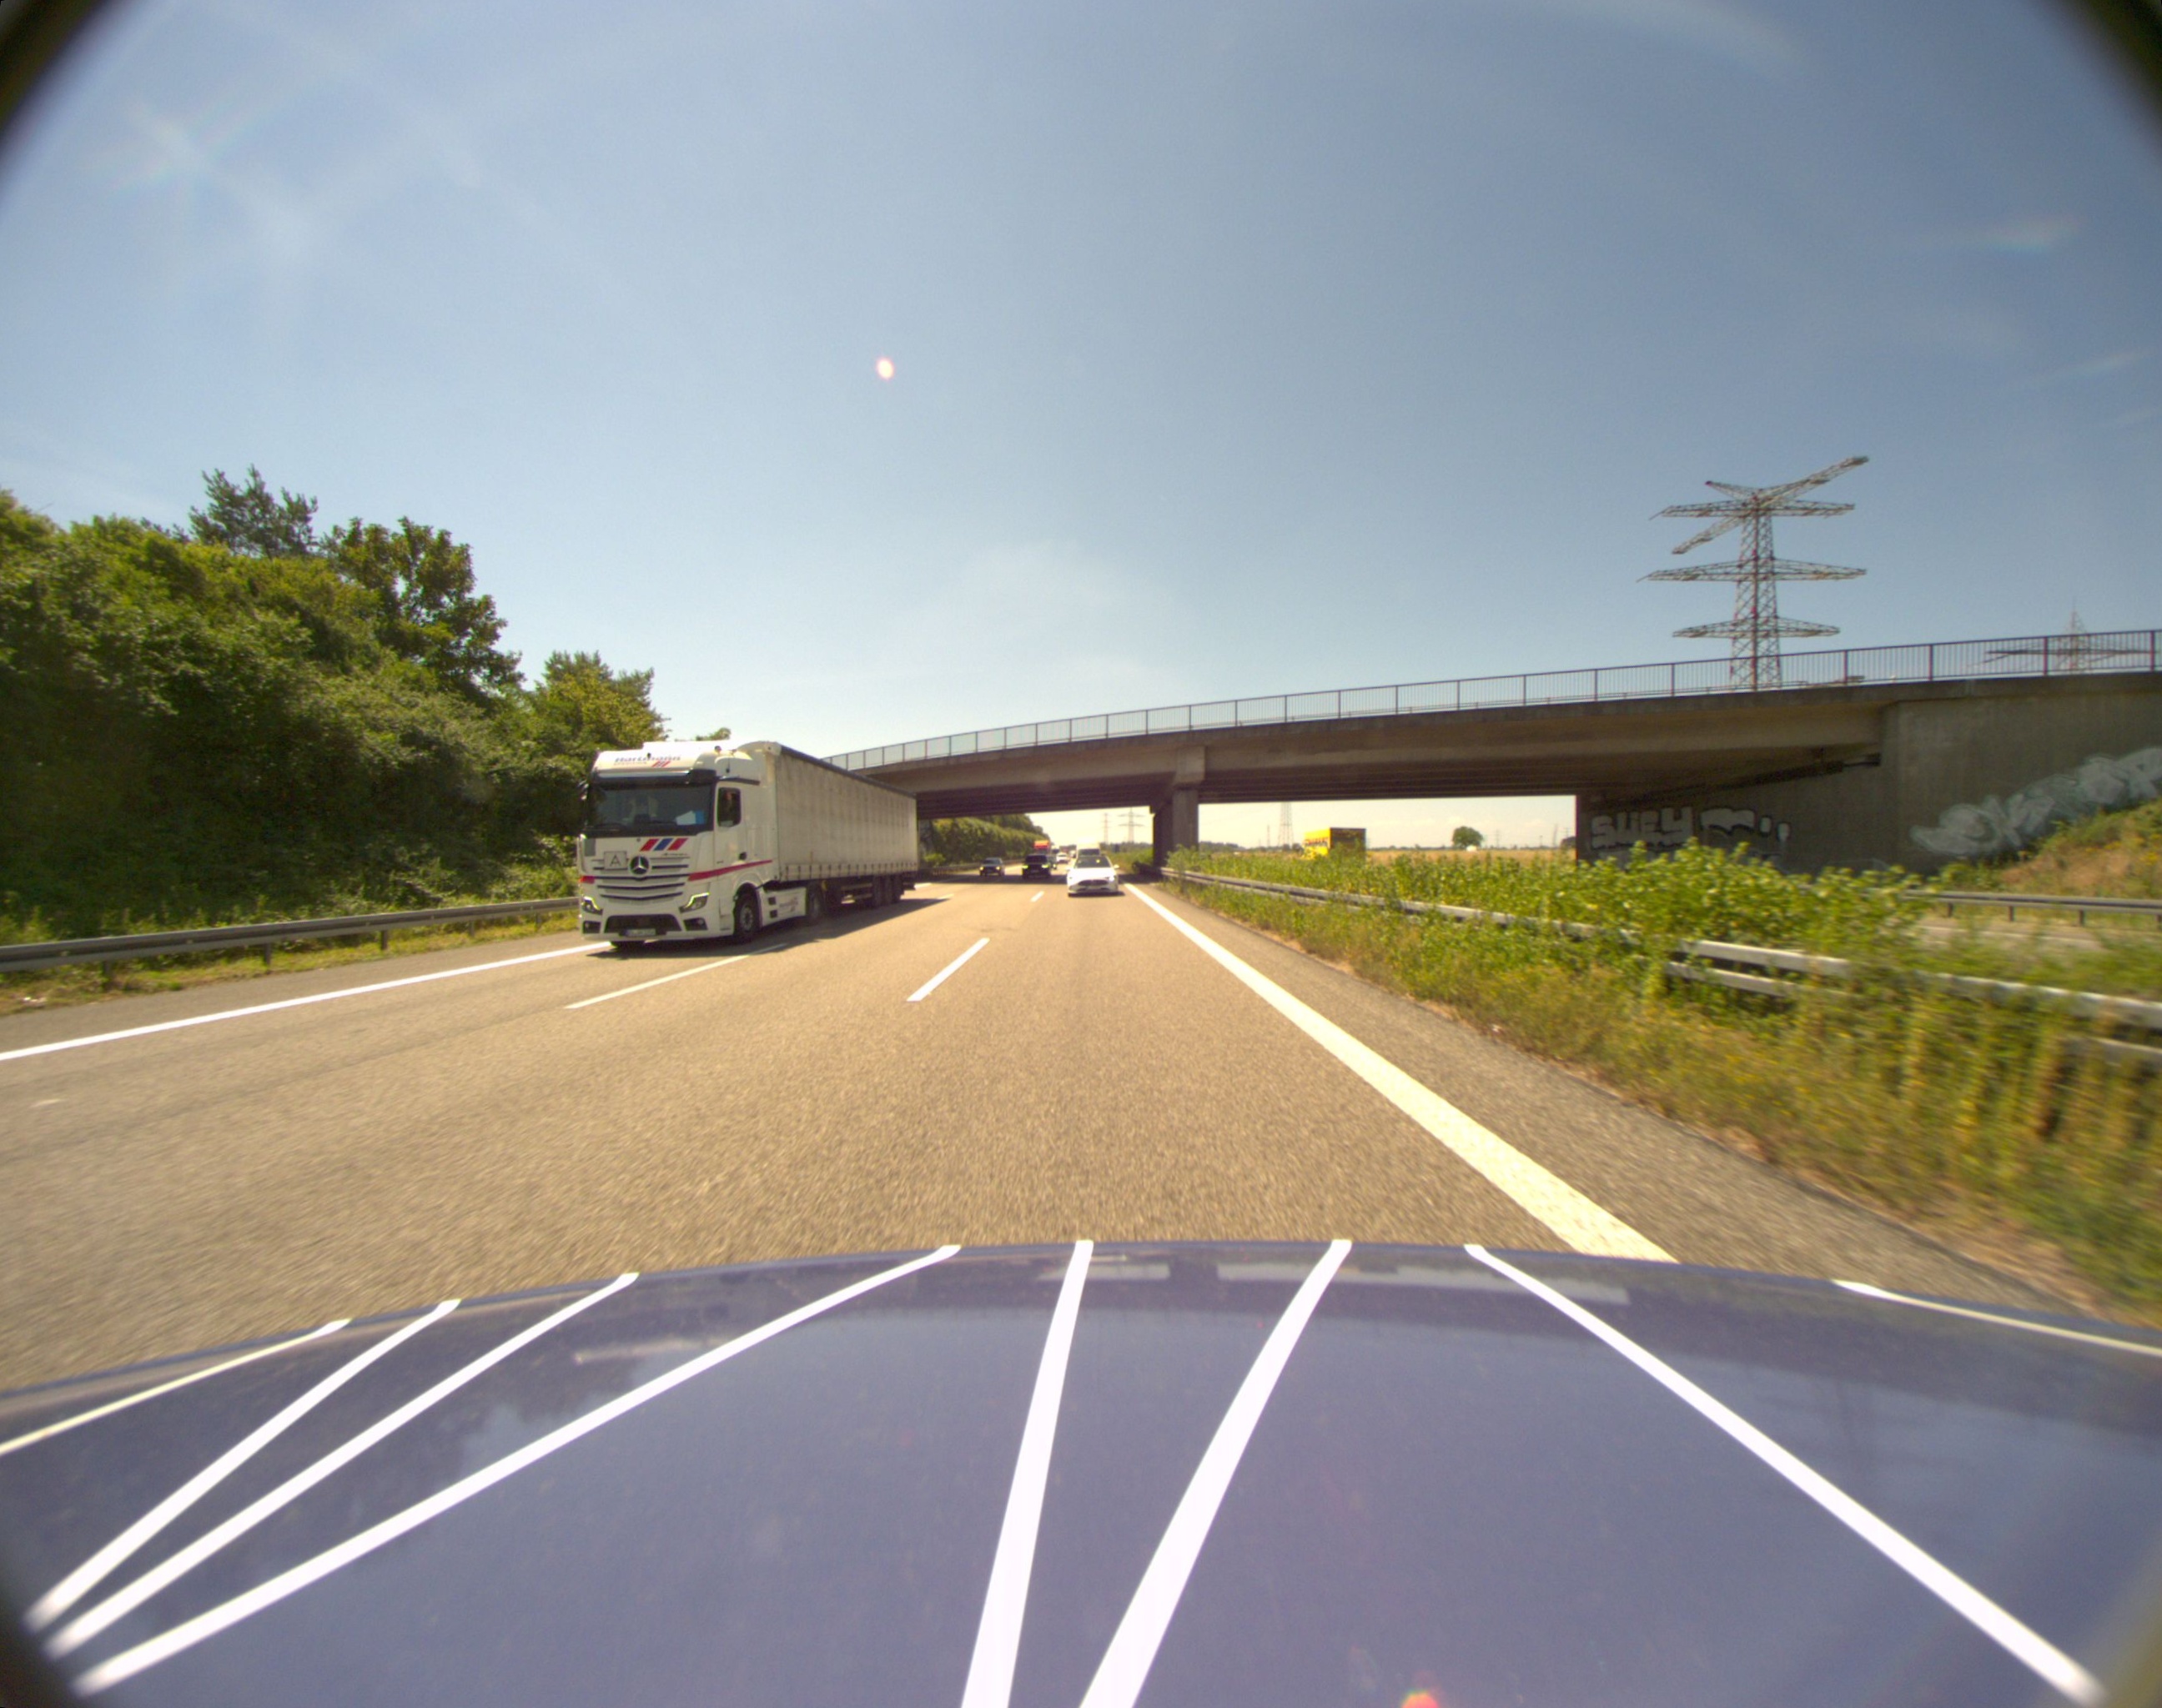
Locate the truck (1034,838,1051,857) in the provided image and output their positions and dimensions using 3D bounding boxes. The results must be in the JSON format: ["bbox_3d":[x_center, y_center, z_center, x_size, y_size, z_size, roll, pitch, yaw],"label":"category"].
[{"bbox_3d":[-6.857,-1.215,136.435,2.581,3.204,5.712,-2,1,0],"label":"truck"}]

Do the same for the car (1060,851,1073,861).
[{"bbox_3d":[-2.248,0.368,121.754,1.984,1.525,4.137,-1,0,0],"label":"car"}]

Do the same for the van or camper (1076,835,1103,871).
[{"bbox_3d":[0.738,-0.087,61.689,1.998,2.741,5.410,-2,0,2],"label":"van or camper"}]

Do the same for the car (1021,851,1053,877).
[{"bbox_3d":[-3.082,0.677,53.737,1.984,1.671,4.558,-1,0,0],"label":"car"}]

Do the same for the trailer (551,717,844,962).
[{"bbox_3d":[-7.540,-0.265,16.264,2.720,4.079,6.788,-1,1,0],"label":"trailer"}]

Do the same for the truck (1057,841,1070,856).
[{"bbox_3d":[-4.645,-1.598,202.731,3.507,3.891,9.646,-1,1,-1],"label":"truck"}]

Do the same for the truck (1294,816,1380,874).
[{"bbox_3d":[18.788,-0.646,56.486,3.520,3.840,8.661,-2,1,1],"label":"truck"}]

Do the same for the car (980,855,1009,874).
[{"bbox_3d":[-7.112,0.815,62.667,1.840,1.403,4.558,-2,0,0],"label":"car"}]

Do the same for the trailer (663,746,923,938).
[{"bbox_3d":[-7.546,-0.304,22.908,2.735,4.079,13.187,-1,0,0],"label":"trailer"}]

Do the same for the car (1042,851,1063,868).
[{"bbox_3d":[-2.909,0.530,78.033,1.984,1.671,4.558,0,0,0],"label":"car"}]

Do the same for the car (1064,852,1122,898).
[{"bbox_3d":[0.410,0.726,29.067,1.984,1.525,4.558,-2,0,0],"label":"car"}]
